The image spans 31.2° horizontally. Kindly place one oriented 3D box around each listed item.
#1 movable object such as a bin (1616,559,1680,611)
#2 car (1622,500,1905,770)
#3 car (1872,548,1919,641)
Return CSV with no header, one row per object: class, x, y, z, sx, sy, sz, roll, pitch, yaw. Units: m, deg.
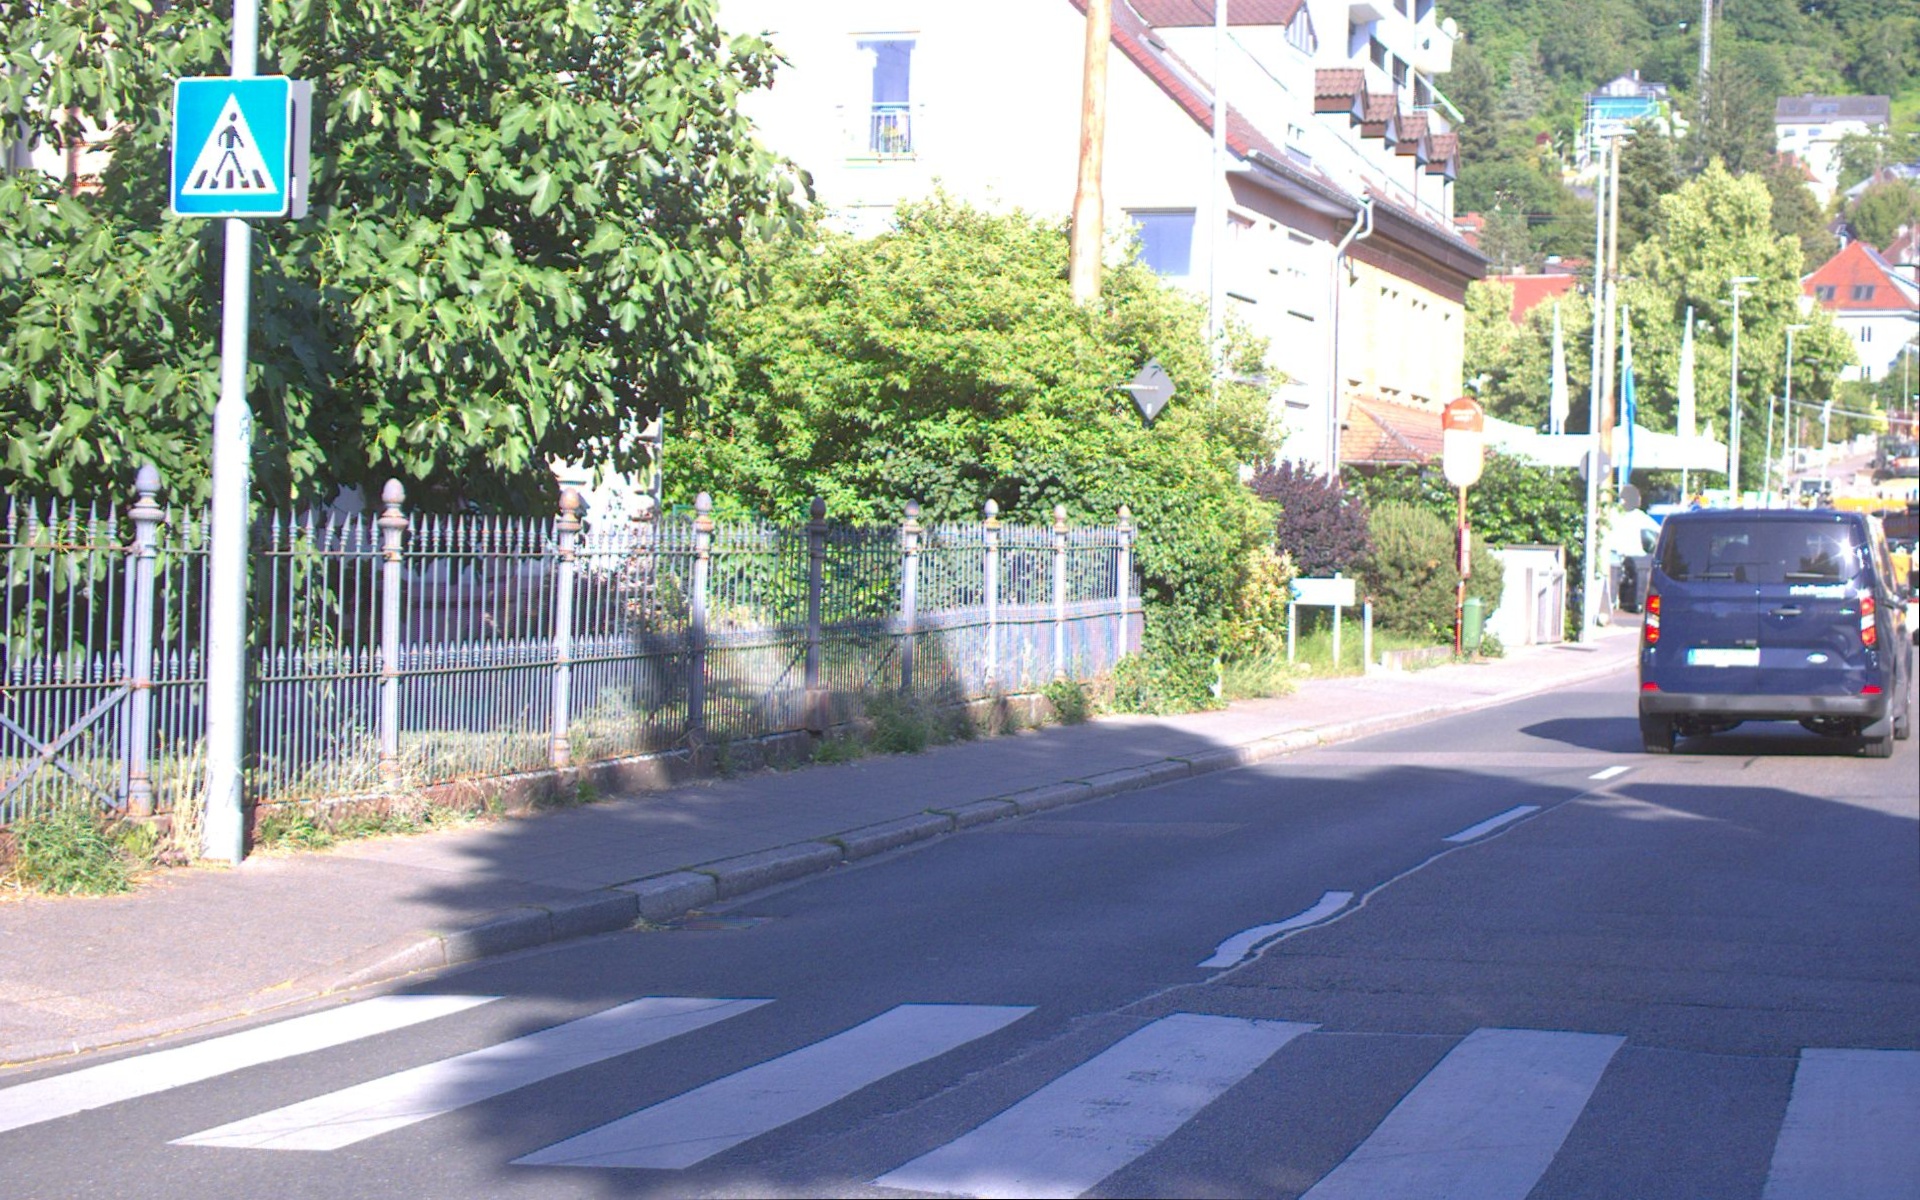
movable object such as a bin,16.868,-0.366,84.349,1.426,1.223,0.959,2,0,7
car,6.744,0.239,28.568,1.995,2.007,3.997,3,1,16
car,18.757,-0.093,65.419,1.994,1.711,3.999,2,1,5
